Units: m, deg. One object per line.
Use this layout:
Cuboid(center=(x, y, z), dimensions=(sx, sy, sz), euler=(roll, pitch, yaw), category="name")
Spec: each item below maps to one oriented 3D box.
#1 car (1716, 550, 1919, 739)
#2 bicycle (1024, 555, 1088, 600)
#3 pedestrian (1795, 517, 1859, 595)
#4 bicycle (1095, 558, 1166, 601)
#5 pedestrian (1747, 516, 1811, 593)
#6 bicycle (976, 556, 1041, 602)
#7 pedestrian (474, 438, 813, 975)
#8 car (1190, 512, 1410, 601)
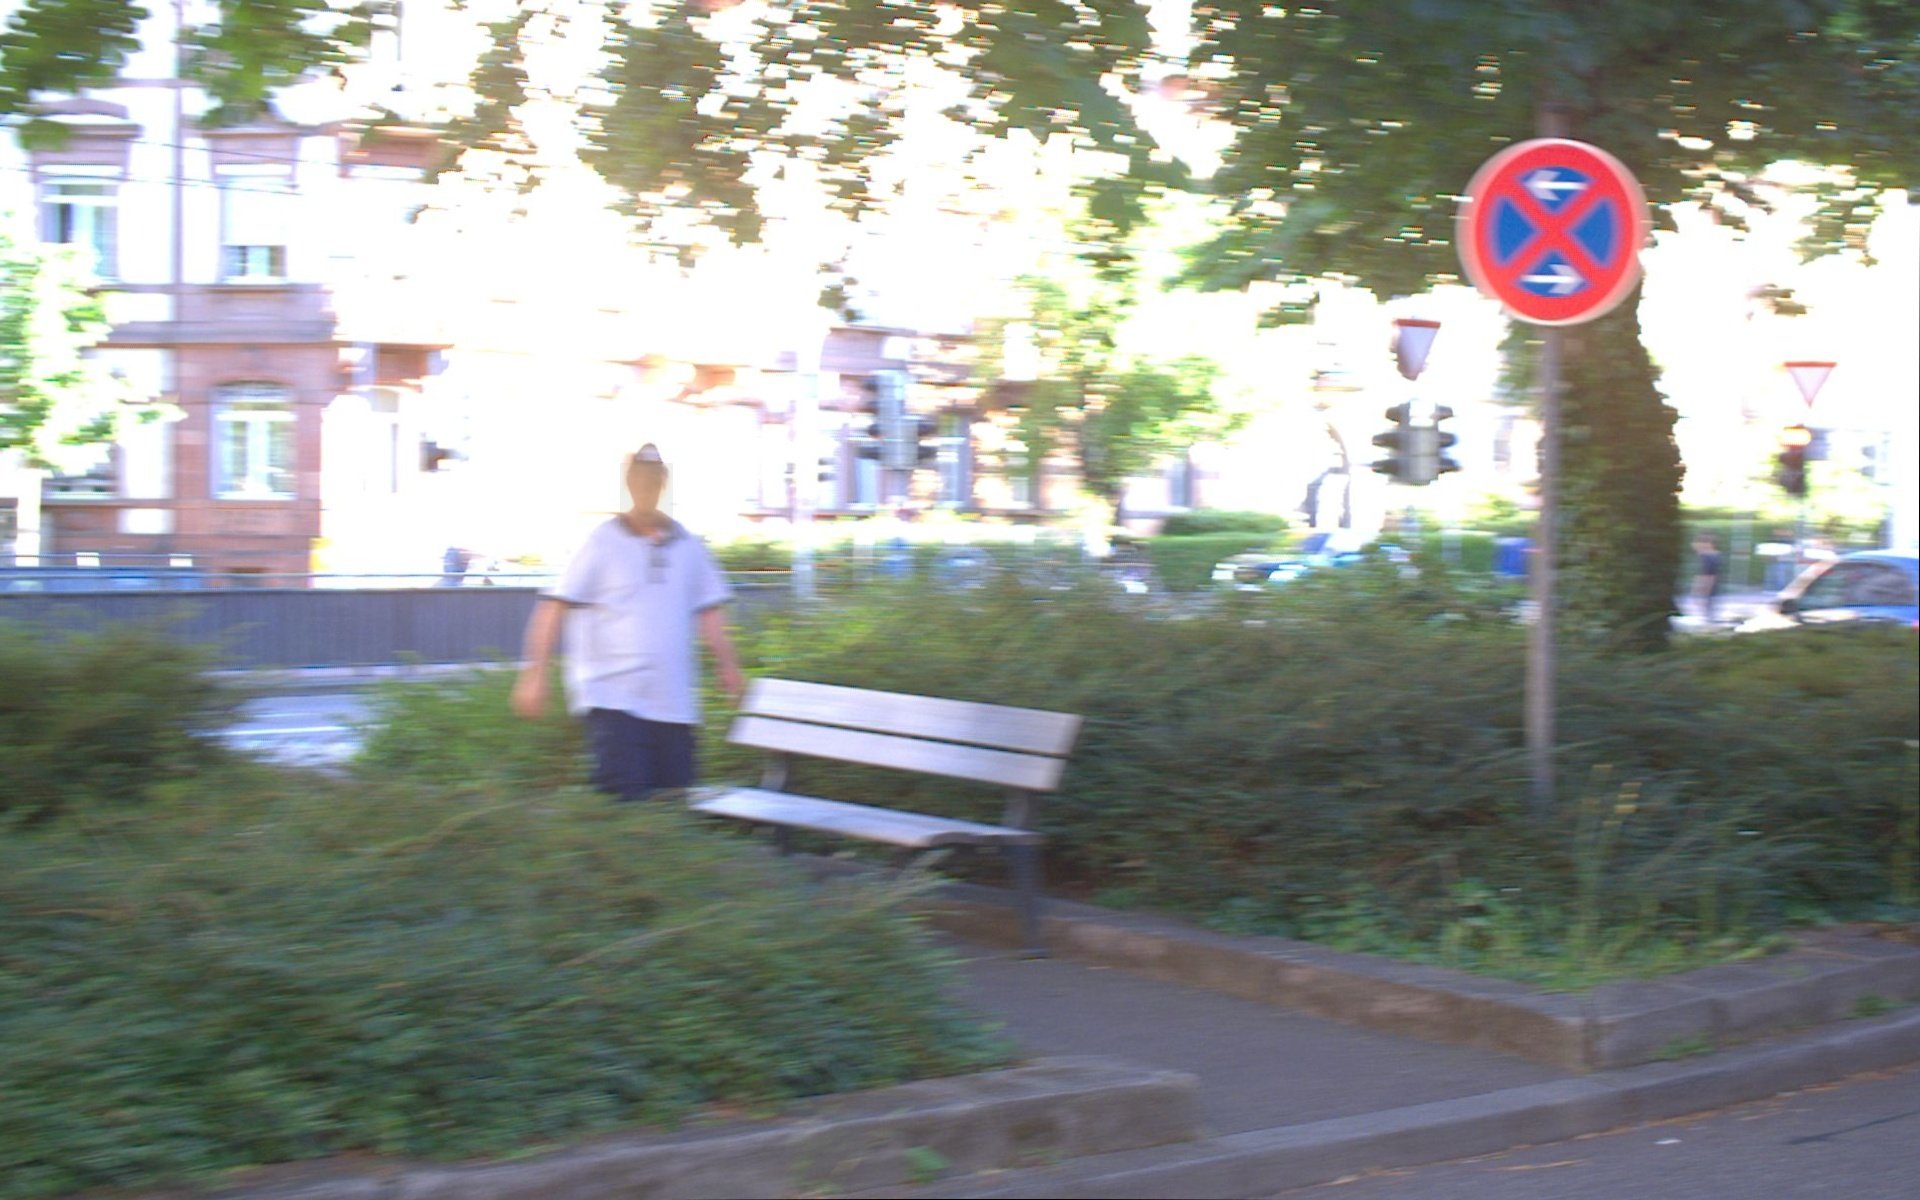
Cuboid(center=(8.433, 0.342, 30.459), dimensions=(1.812, 1.538, 3.960), euler=(-2, 1, -14), category="car")
Cuboid(center=(1.865, -0.441, 66.904), dimensions=(1.220, 0.859, 0.450), euler=(0, 1, -36), category="bicycle")
Cuboid(center=(22.159, -1.134, 87.860), dimensions=(1.160, 1.955, 1.384), euler=(2, 1, 34), category="pedestrian")
Cuboid(center=(3.411, -0.414, 68.807), dimensions=(1.442, 0.859, 0.450), euler=(0, 1, -36), category="bicycle")
Cuboid(center=(21.118, -1.187, 88.656), dimensions=(1.160, 1.955, 1.384), euler=(2, 1, 34), category="pedestrian")
Cuboid(center=(0.938, -0.402, 66.135), dimensions=(1.220, 0.859, 0.450), euler=(0, 1, -36), category="bicycle")
Cuboid(center=(-1.048, 0.323, 11.277), dimensions=(0.915, 1.678, 0.780), euler=(0, 1, -21), category="pedestrian")
Cuboid(center=(6.365, -0.834, 64.007), dimensions=(1.998, 1.491, 4.365), euler=(2, 3, 39), category="car")
